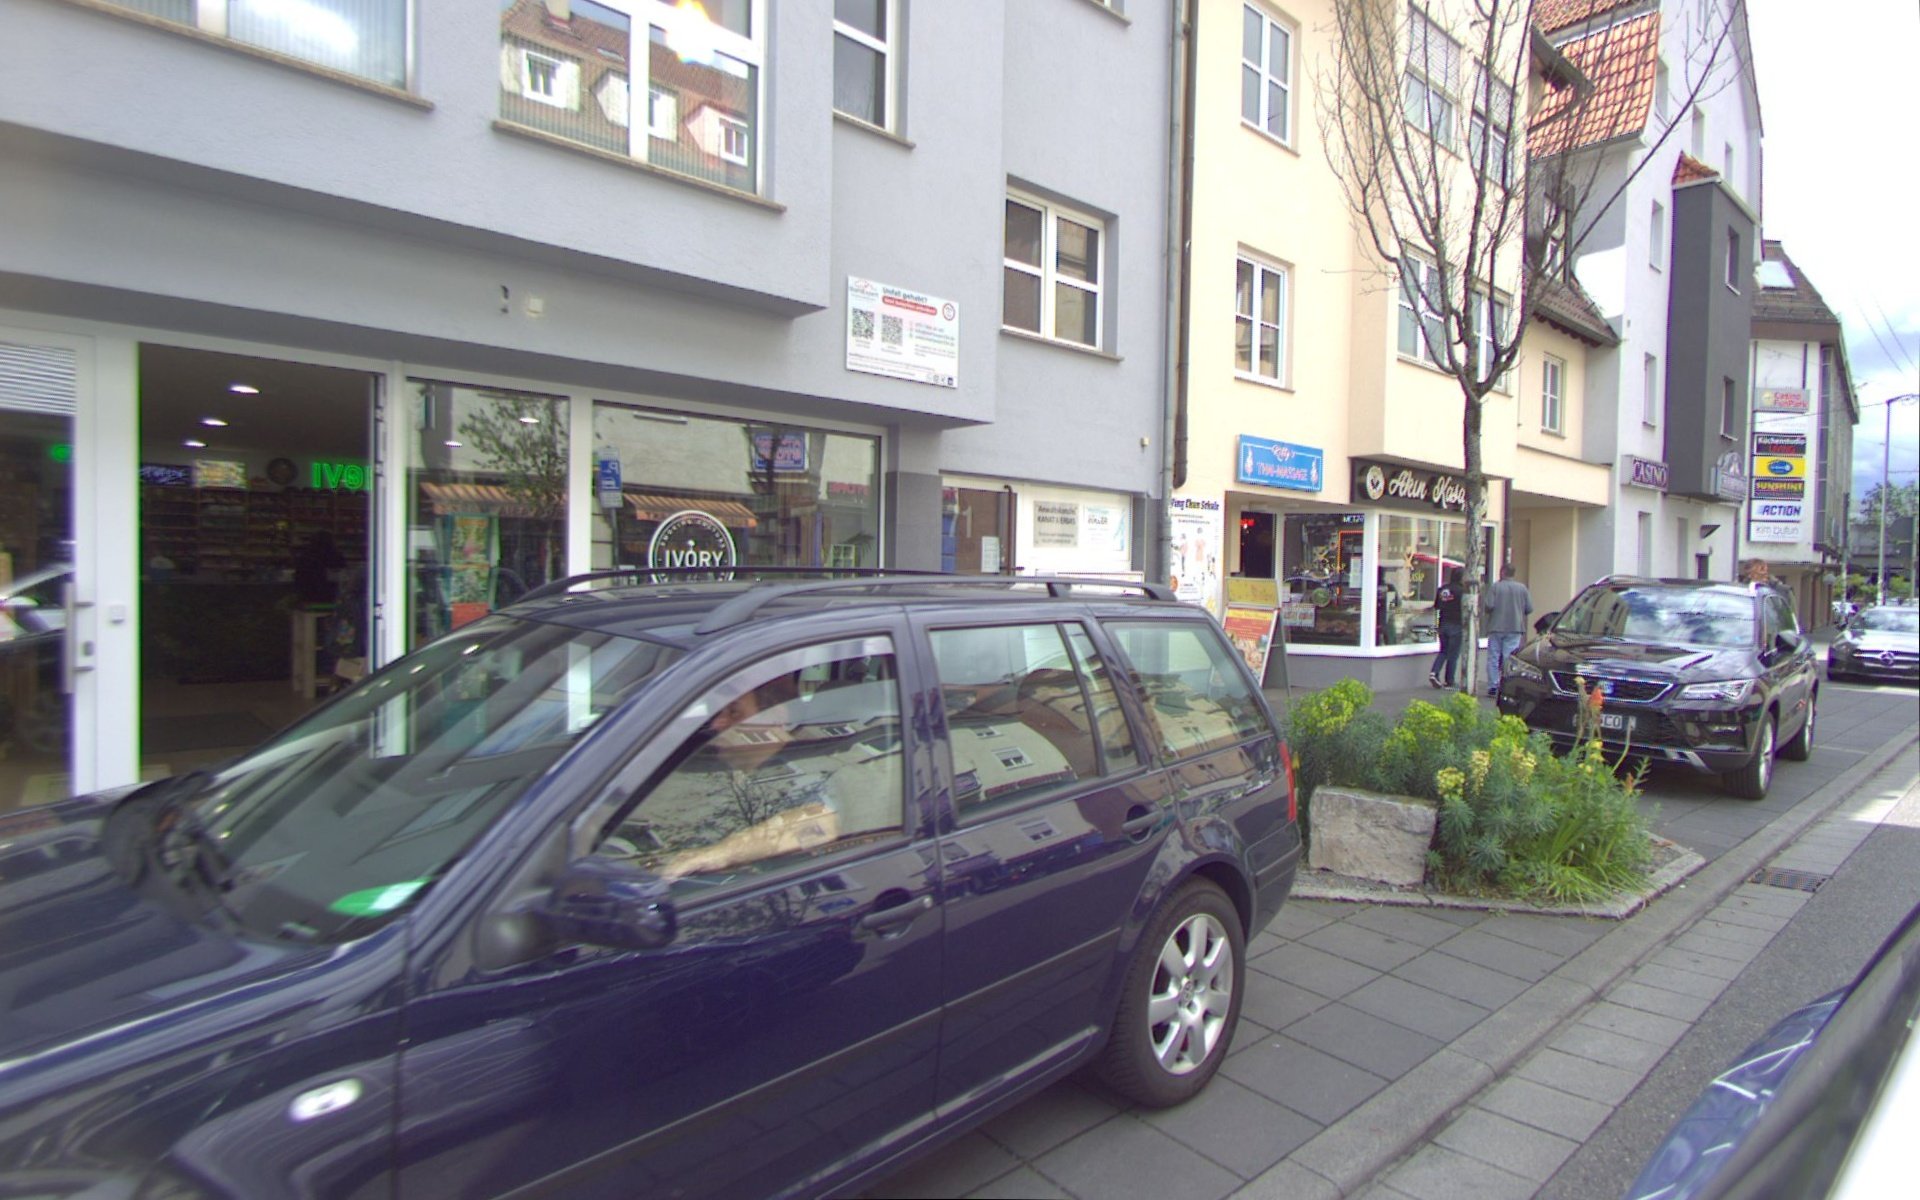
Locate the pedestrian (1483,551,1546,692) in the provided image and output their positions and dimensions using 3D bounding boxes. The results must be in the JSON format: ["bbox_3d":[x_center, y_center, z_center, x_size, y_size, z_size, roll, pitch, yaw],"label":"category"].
[{"bbox_3d":[7.029,0.258,12.830,0.596,1.739,0.536,-1,0,-43],"label":"pedestrian"}]

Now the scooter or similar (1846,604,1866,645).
[{"bbox_3d":[29.484,0.789,33.301,0.430,1.296,1.230,0,1,44],"label":"scooter or similar"}]

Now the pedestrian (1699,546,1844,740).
[{"bbox_3d":[8.470,0.399,10.570,0.850,1.886,0.977,-1,4,-42],"label":"pedestrian"}]

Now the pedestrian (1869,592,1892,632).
[{"bbox_3d":[36.789,0.467,40.455,0.469,1.581,0.660,-1,0,-44],"label":"pedestrian"}]

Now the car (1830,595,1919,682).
[{"bbox_3d":[17.845,0.649,18.880,4.241,1.438,1.711,-1,1,-39],"label":"car"}]

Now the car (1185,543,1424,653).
[{"bbox_3d":[7.155,-0.123,21.415,1.919,1.955,4.359,0,4,-40],"label":"car"}]

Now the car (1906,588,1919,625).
[{"bbox_3d":[46.114,0.332,47.669,4.390,1.681,1.824,0,3,-42],"label":"car"}]

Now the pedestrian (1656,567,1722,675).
[{"bbox_3d":[12.140,0.326,16.857,0.645,1.739,0.744,-1,2,-42],"label":"pedestrian"}]

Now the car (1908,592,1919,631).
[{"bbox_3d":[37.553,0.429,38.710,4.477,1.472,1.716,0,1,-45],"label":"car"}]

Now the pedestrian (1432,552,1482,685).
[{"bbox_3d":[6.685,0.238,13.607,0.528,1.739,0.436,-1,0,-44],"label":"pedestrian"}]

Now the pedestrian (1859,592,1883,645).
[{"bbox_3d":[29.733,0.595,33.024,0.570,1.724,0.474,0,0,42],"label":"pedestrian"}]

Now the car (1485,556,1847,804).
[{"bbox_3d":[6.340,0.502,8.889,4.135,1.623,1.801,0,3,-44],"label":"car"}]

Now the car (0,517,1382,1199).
[{"bbox_3d":[-0.629,0.576,2.698,4.226,1.457,1.691,-1,5,-45],"label":"car"}]
